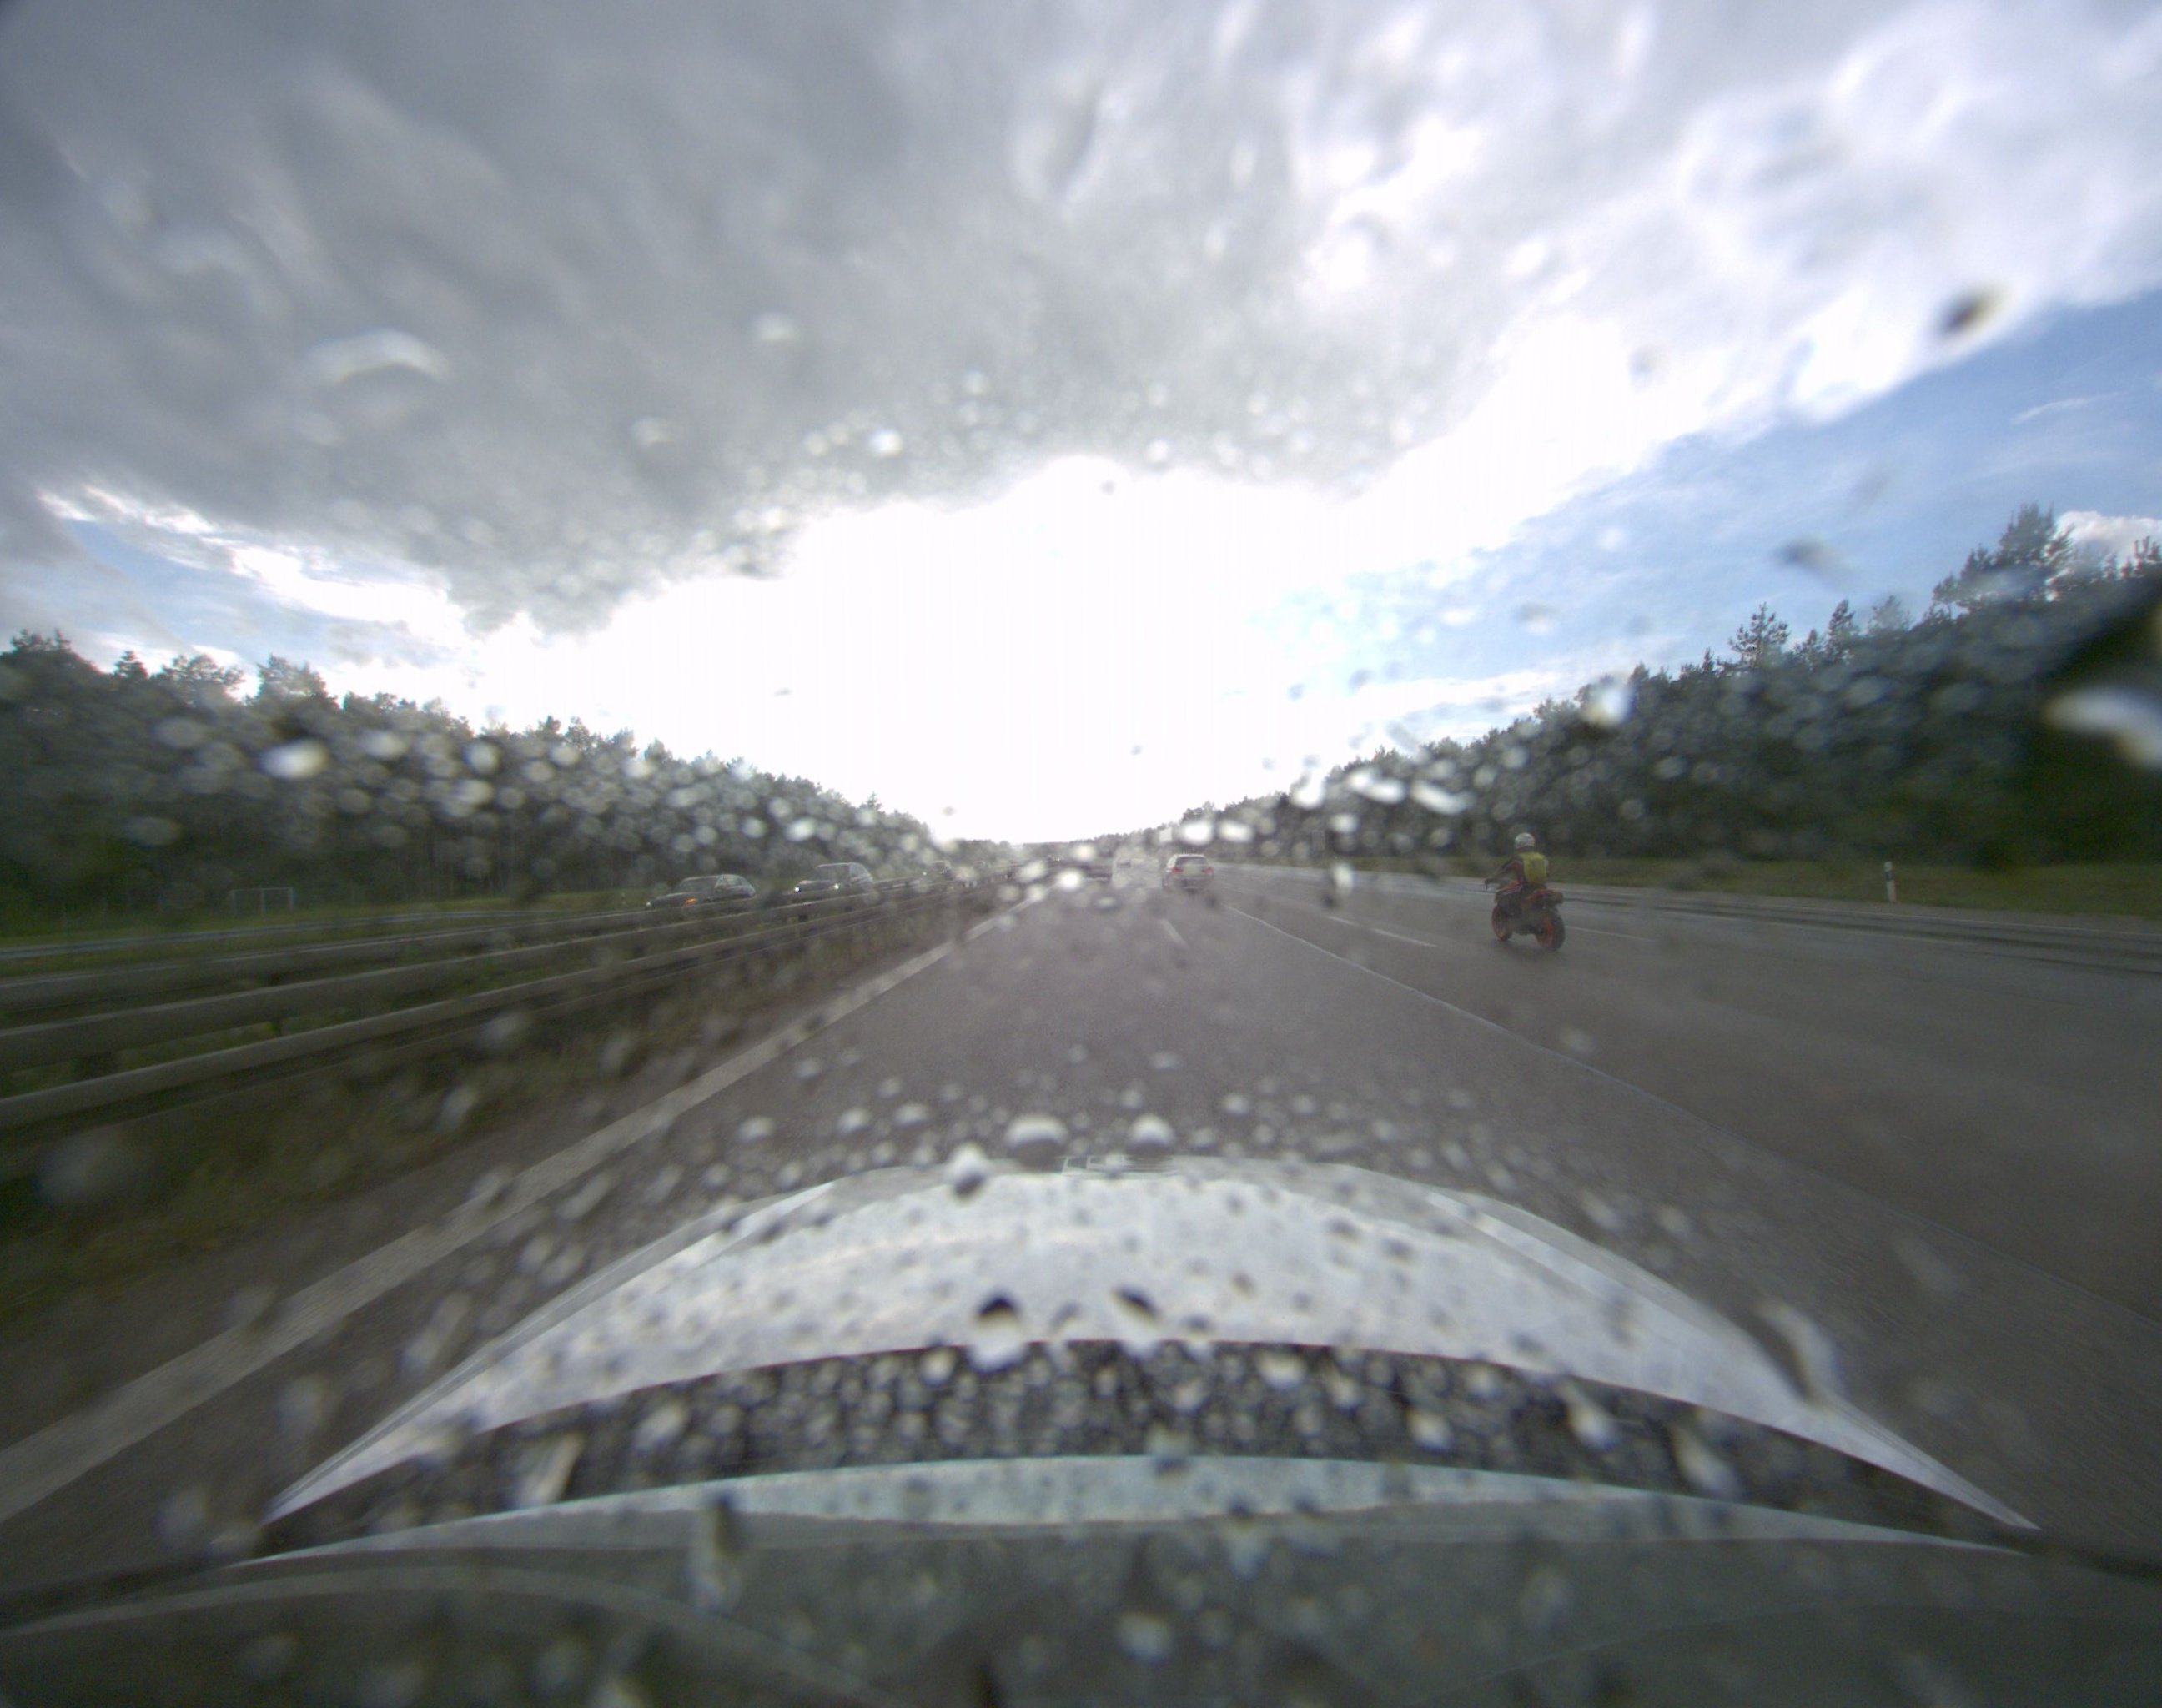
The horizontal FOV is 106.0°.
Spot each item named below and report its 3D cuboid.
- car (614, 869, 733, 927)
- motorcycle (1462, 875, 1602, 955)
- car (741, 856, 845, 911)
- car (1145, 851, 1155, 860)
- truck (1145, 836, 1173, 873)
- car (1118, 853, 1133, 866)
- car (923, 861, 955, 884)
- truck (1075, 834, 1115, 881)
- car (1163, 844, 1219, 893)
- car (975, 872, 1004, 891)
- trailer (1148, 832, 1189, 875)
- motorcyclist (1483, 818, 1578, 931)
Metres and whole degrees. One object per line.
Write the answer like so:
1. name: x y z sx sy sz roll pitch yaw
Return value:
1. car: -12.935 1.340 26.125 1.746 1.579 3.849 -2 0 2
2. motorcycle: 6.763 0.868 12.377 0.996 1.031 2.175 -1 0 3
3. car: -9.174 0.903 26.291 1.783 1.542 3.725 -3 0 3
4. car: 15.438 0.348 182.376 1.986 2.013 4.001 0 0 2
5. truck: 8.560 0.066 89.648 2.287 3.868 5.388 -1 0 -2
6. car: 5.509 0.680 100.617 1.823 1.466 4.003 -1 0 3
7. car: -11.748 1.485 67.583 1.718 1.683 4.138 -4 0 1
8. truck: 0.789 0.211 46.480 2.130 2.489 5.313 -1 0 1
9. car: 4.478 0.555 33.781 2.068 1.885 5.019 -1 0 5
10. car: -7.254 2.199 65.182 1.688 1.260 4.064 -3 0 1
11. trailer: 8.727 -0.020 82.796 2.317 4.001 13.402 -1 0 -2
12. motorcyclist: 6.724 0.291 12.223 0.888 1.614 0.959 -1 0 2
